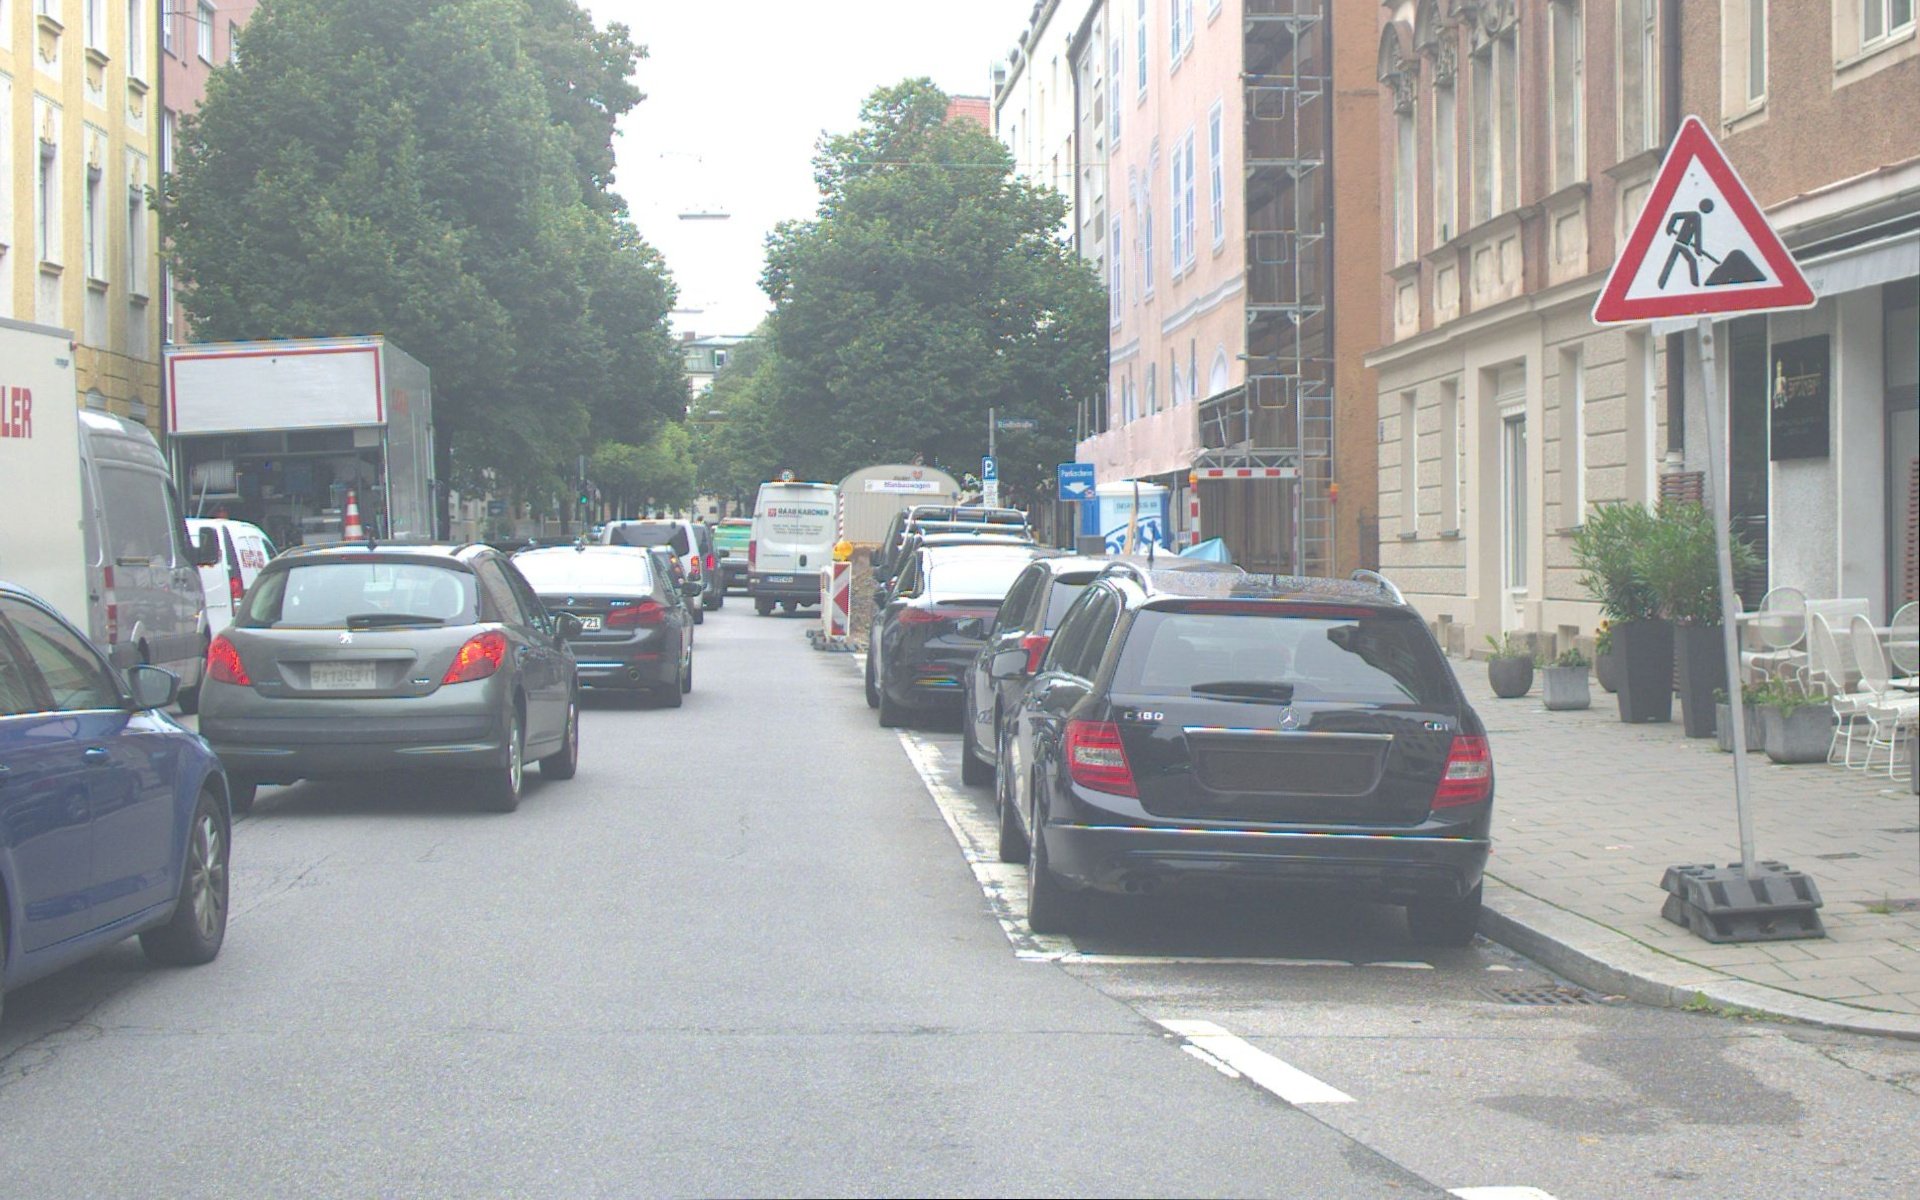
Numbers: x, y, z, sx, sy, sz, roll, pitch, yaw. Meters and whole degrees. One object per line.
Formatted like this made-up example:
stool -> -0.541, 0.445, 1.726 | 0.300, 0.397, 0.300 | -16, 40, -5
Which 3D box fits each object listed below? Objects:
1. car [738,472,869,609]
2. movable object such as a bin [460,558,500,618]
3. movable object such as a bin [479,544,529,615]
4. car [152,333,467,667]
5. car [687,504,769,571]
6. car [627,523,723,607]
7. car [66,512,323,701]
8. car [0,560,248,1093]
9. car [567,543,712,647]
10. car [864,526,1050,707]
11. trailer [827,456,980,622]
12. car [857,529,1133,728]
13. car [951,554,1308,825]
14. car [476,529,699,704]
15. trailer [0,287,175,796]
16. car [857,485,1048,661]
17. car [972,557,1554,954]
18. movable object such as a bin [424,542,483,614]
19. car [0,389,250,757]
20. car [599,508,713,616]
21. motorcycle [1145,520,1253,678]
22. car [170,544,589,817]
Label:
car -> -3.150, -1.192, 70.255 | 2.113, 2.654, 5.499 | 1, 1, 3
movable object such as a bin -> -9.471, -0.249, 67.826 | 0.711, 1.144, 0.636 | -2, 1, -6
movable object such as a bin -> -9.112, -0.417, 68.759 | 0.918, 1.372, 1.080 | -2, 1, -7
car -> -8.076, -1.212, 43.778 | 2.812, 3.804, 8.725 | -1, 1, -3
car -> -6.020, -1.630, 88.855 | 2.007, 1.647, 4.348 | 1, 1, -5
car -> -5.983, -0.765, 72.545 | 1.867, 1.647, 4.348 | 1, 1, -3
car -> -7.810, 0.026, 35.452 | 1.763, 1.773, 4.327 | -2, 1, -2
car -> -3.534, 0.625, 10.420 | 1.789, 1.455, 4.314 | -1, 1, 1
car -> -4.539, -0.106, 49.113 | 1.867, 1.343, 4.348 | 1, 1, -3
car -> -0.089, 0.136, 35.525 | 1.693, 1.671, 4.408 | 3, 0, -2
trailer -> -1.118, -1.094, 63.255 | 2.502, 2.830, 6.902 | 1, 1, -3
car -> 0.189, 0.165, 29.715 | 1.930, 1.547, 5.638 | 0, 1, -4
car -> 0.878, 0.439, 19.956 | 1.572, 1.389, 4.183 | -1, 1, -4
car -> -3.369, 0.102, 31.769 | 1.867, 1.449, 4.348 | 1, 1, -4
trailer -> -6.998, -0.301, 20.542 | 2.803, 2.958, 7.600 | -3, 2, -1
car -> -0.161, -0.256, 41.113 | 2.082, 1.914, 5.140 | 1, -1, -2
car -> 1.101, 0.526, 14.744 | 1.846, 1.400, 4.789 | 0, 1, -3
movable object such as a bin -> -10.102, -0.443, 68.623 | 1.081, 1.372, 1.084 | -2, 1, -7
car -> -7.429, -0.211, 28.033 | 2.056, 2.578, 6.878 | -4, 1, -3
car -> -5.478, -0.724, 62.292 | 1.867, 1.863, 4.348 | 1, 1, -3
motorcycle -> 2.322, -0.029, 33.619 | 0.871, 1.499, 1.997 | 0, 1, -1
car -> -3.212, 0.392, 19.669 | 1.741, 1.417, 3.664 | 0, 1, 1
